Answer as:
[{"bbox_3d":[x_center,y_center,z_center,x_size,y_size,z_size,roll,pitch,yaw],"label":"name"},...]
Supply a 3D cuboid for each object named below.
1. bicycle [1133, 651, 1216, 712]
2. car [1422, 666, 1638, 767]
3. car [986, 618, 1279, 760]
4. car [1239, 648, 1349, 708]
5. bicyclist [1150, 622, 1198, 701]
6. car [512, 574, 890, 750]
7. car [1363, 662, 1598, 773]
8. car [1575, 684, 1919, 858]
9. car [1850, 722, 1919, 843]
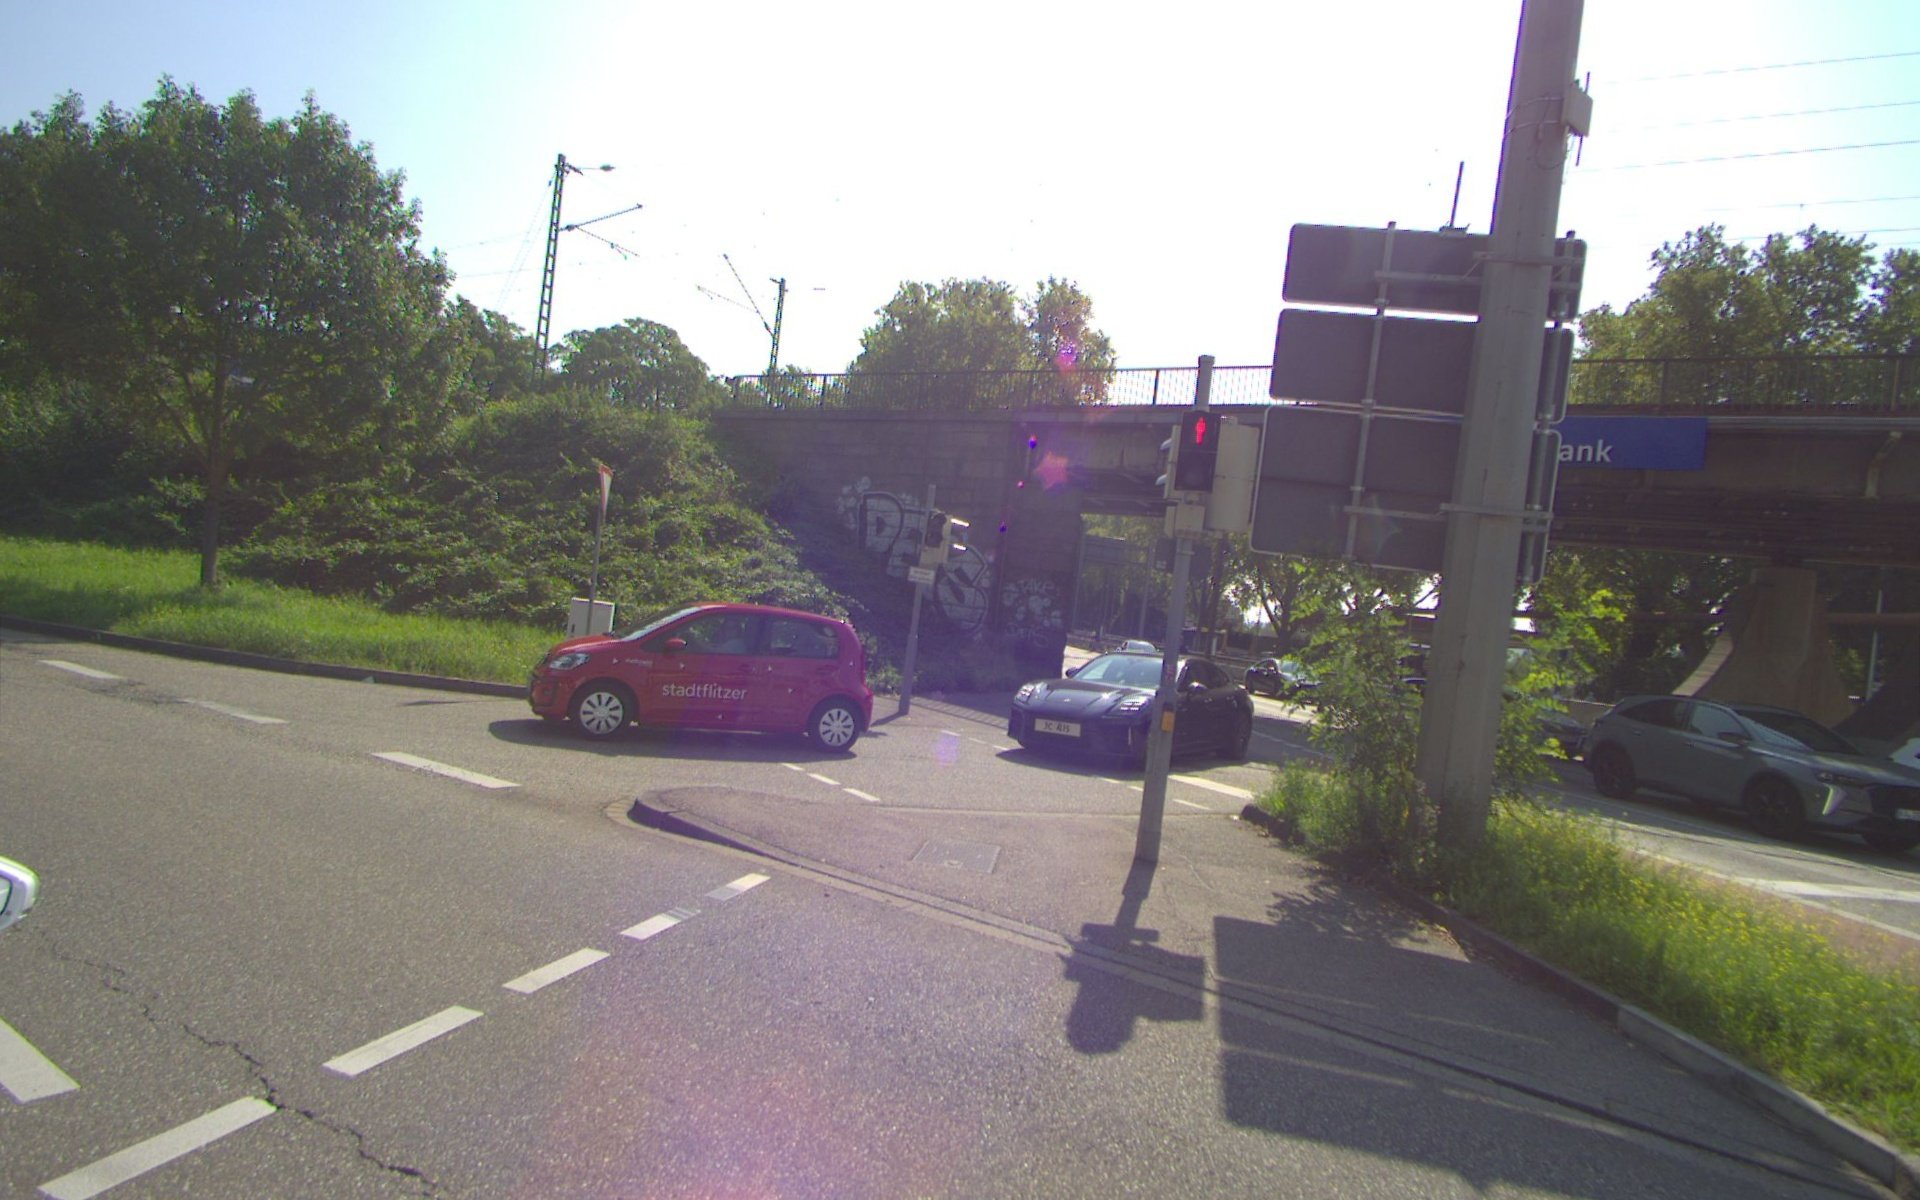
[{"bbox_3d":[4.808,1.801,22.844,1.212,1.062,2.979,7,-1,2],"label":"bicycle"},{"bbox_3d":[13.051,2.612,23.409,1.966,1.488,4.338,8,1,-9],"label":"car"},{"bbox_3d":[2.592,1.196,13.923,1.970,1.480,4.871,4,-2,36],"label":"car"},{"bbox_3d":[11.636,2.697,35.361,1.826,1.501,4.179,8,0,-9],"label":"car"},{"bbox_3d":[4.847,1.380,22.832,0.699,1.678,0.970,7,0,2],"label":"bicyclist"},{"bbox_3d":[-2.733,0.675,10.701,3.512,1.485,1.632,6,0,-29],"label":"car"},{"bbox_3d":[10.415,2.296,20.566,1.965,1.540,4.340,6,0,-9],"label":"car"},{"bbox_3d":[10.935,2.207,13.875,1.873,1.636,4.474,6,-1,-3],"label":"car"},{"bbox_3d":[14.234,2.653,13.047,1.697,1.557,3.691,6,-1,-9],"label":"car"}]
